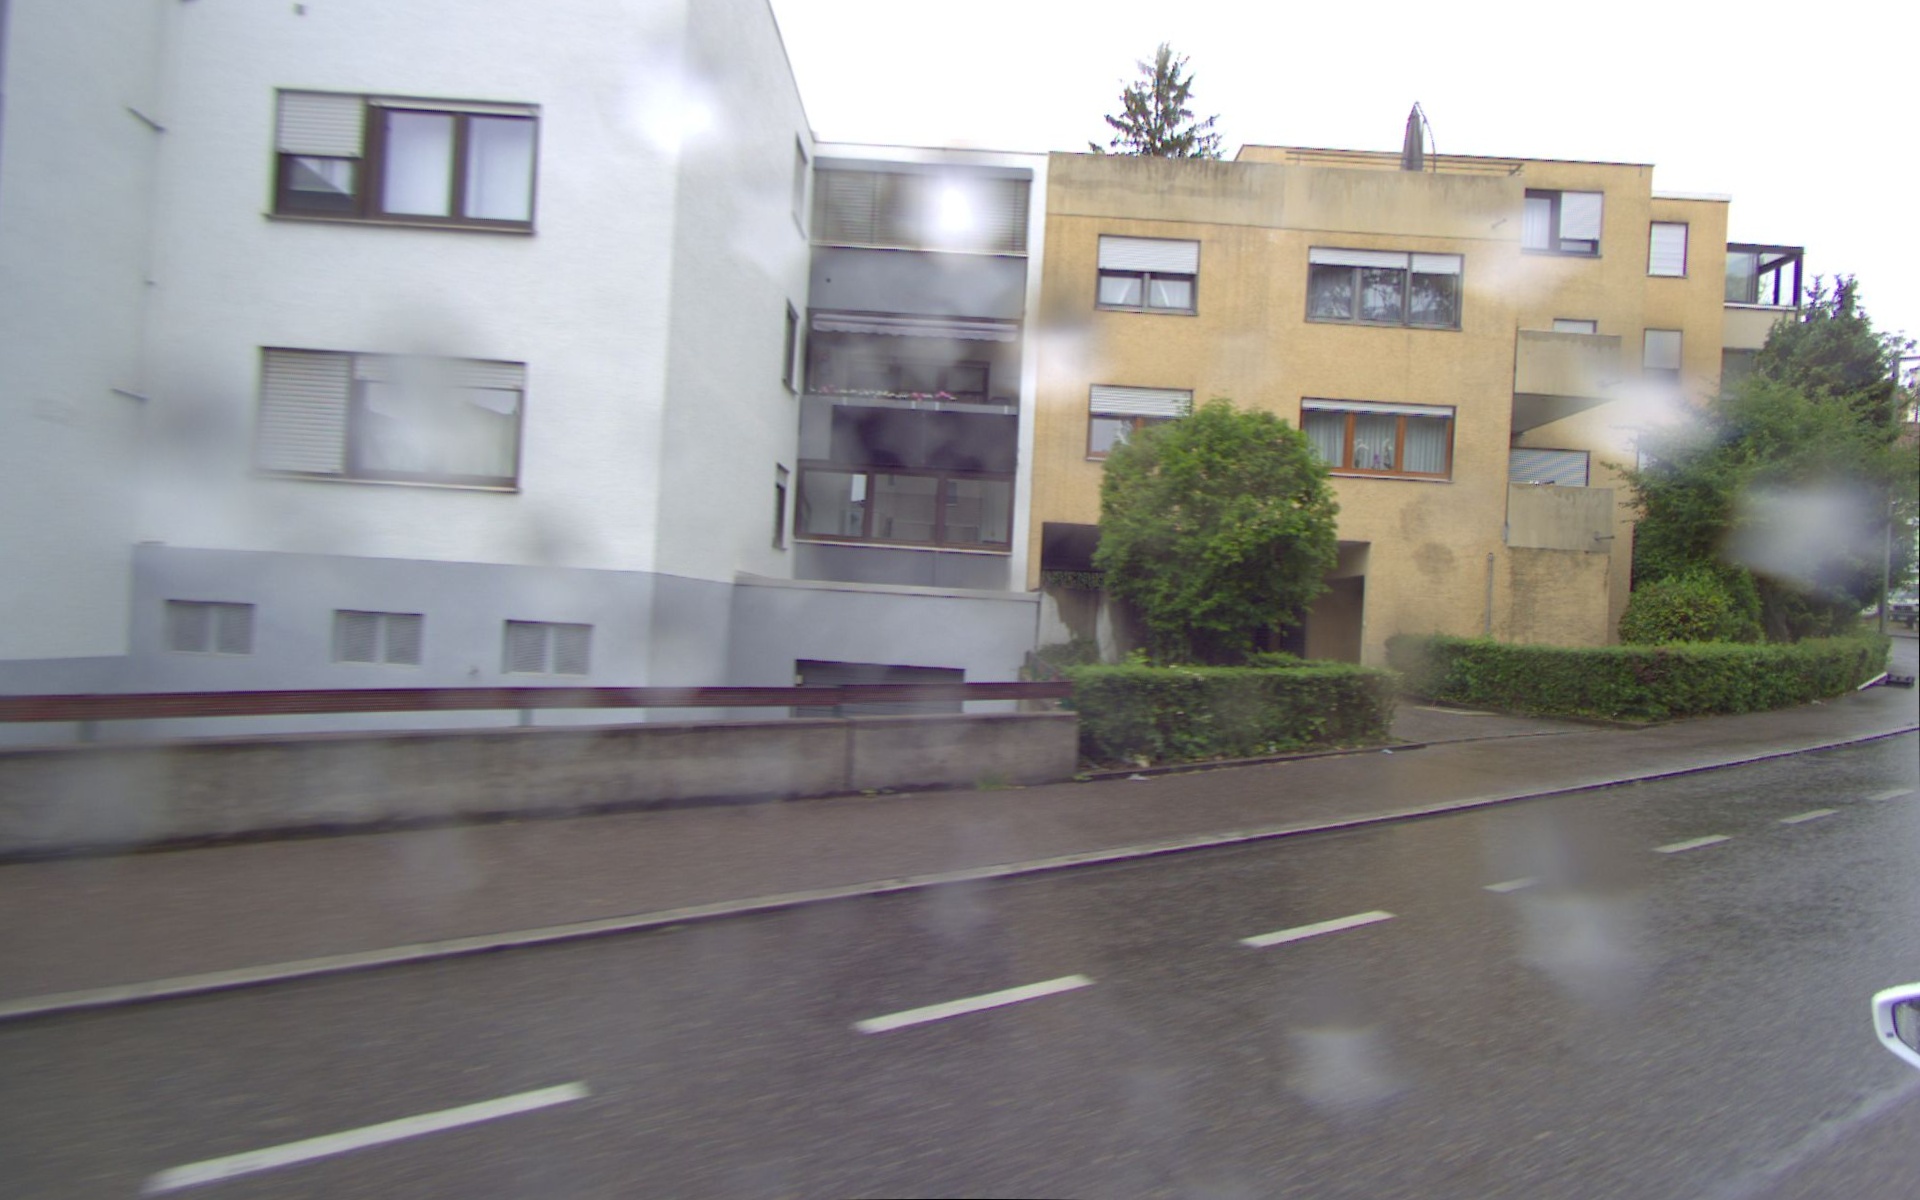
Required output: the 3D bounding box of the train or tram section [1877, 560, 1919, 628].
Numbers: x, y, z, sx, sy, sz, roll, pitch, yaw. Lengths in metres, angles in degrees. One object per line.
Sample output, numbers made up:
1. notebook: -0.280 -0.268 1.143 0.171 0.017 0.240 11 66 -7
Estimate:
1. train or tram section: 49.211 -0.243 48.915 6.732 3.246 2.366 0 0 3
